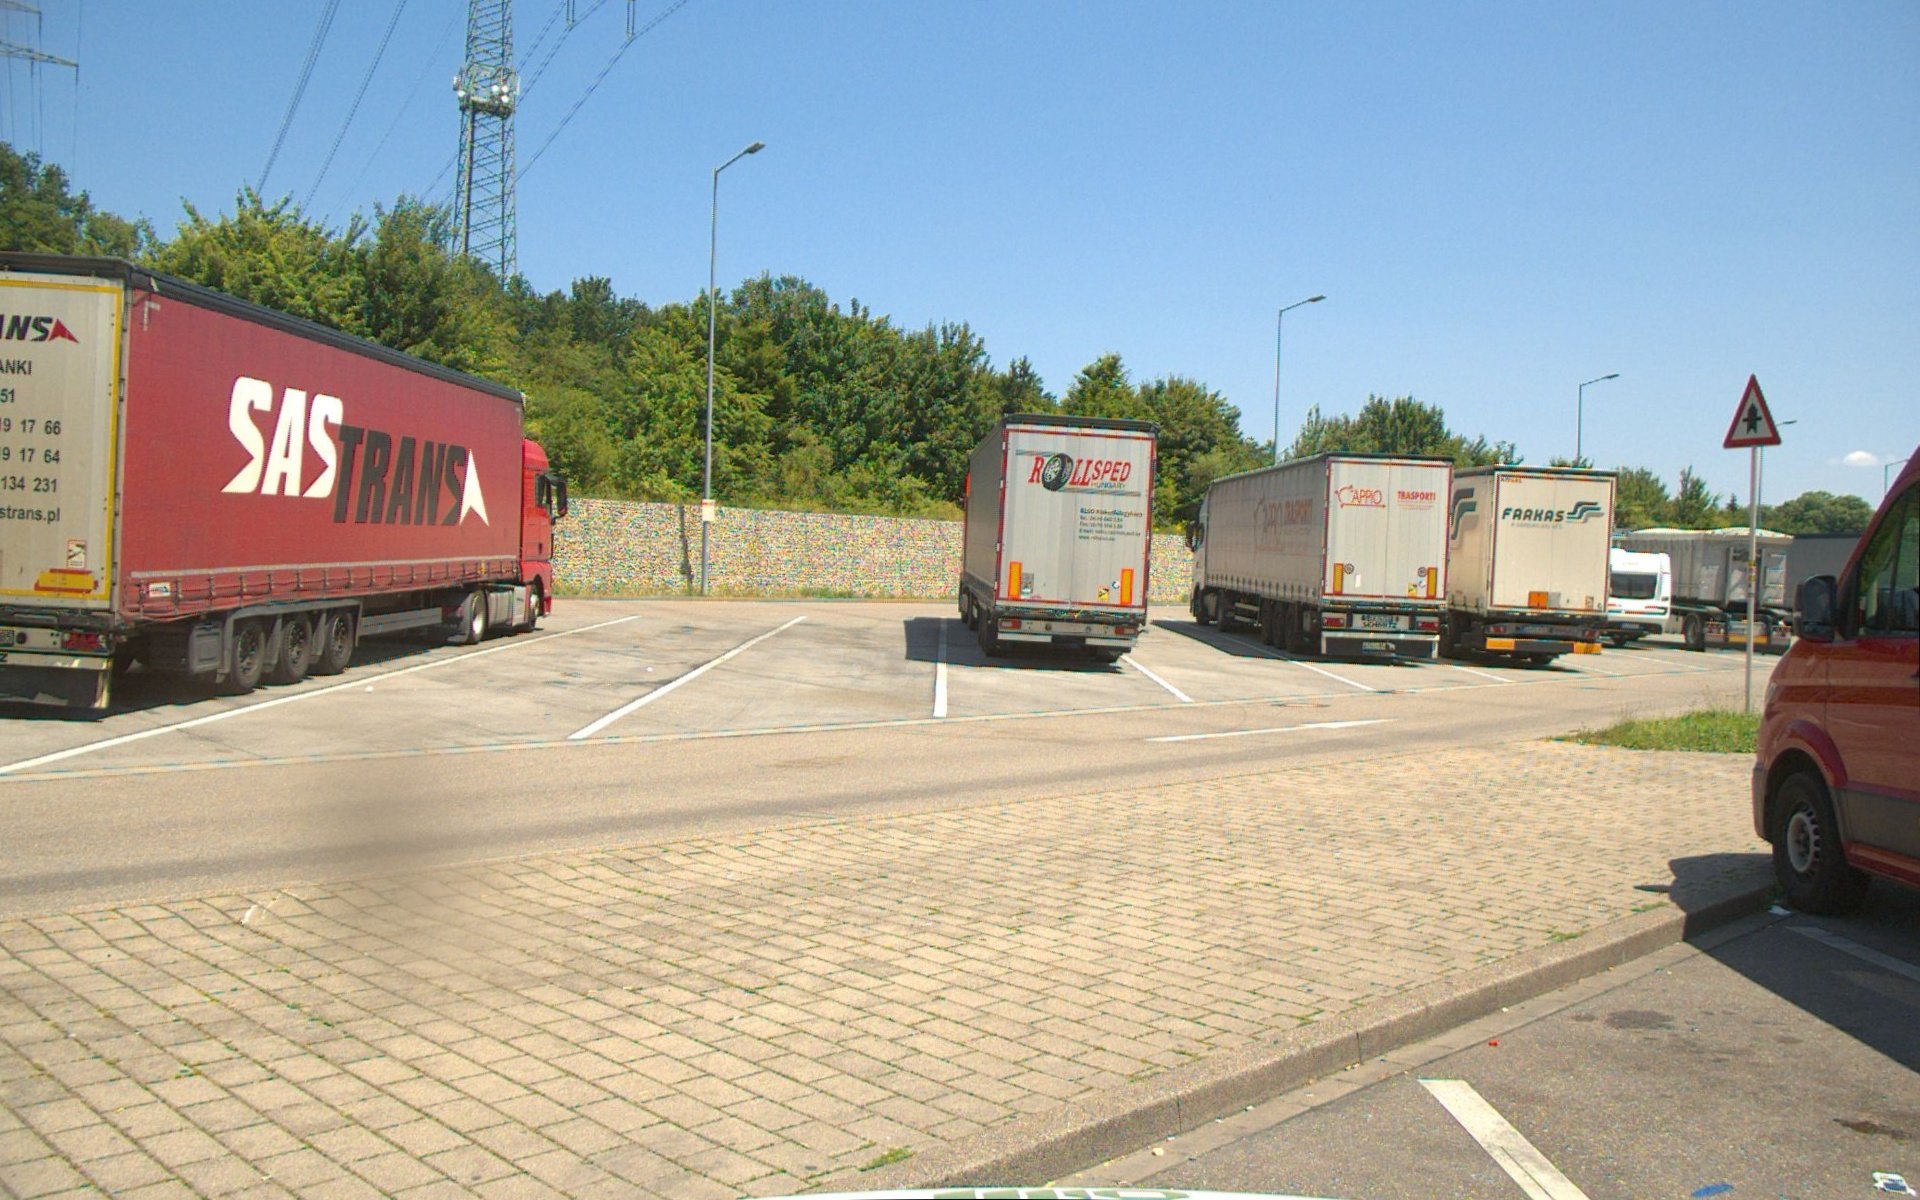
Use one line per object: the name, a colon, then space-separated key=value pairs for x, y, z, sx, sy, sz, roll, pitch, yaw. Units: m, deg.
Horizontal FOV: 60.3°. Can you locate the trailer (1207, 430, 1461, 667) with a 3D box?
trailer: x=8.174 y=-1.104 z=38.346 sx=2.627 sy=4.530 sz=12.826 roll=1 pitch=1 yaw=-1

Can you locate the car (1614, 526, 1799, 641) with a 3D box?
car: x=21.700 y=-0.505 z=48.491 sx=2.448 sy=3.128 sz=6.350 roll=1 pitch=1 yaw=-1

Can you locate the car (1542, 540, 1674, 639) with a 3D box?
car: x=18.235 y=-0.276 z=46.733 sx=2.072 sy=2.645 sz=3.999 roll=1 pitch=0 yaw=-1

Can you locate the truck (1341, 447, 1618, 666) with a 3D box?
truck: x=11.716 y=-0.840 z=38.876 sx=2.534 sy=4.299 sz=11.967 roll=1 pitch=0 yaw=-1

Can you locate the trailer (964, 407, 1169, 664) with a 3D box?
trailer: x=1.726 y=-1.132 z=32.200 sx=2.839 sy=4.083 sz=11.313 roll=1 pitch=1 yaw=-2

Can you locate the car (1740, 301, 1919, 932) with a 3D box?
car: x=4.986 y=0.105 z=5.555 sx=1.952 sy=2.679 sz=6.385 roll=1 pitch=1 yaw=3

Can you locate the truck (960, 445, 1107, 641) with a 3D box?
truck: x=1.538 y=-1.243 z=37.701 sx=2.814 sy=4.050 sz=6.027 roll=1 pitch=1 yaw=-2

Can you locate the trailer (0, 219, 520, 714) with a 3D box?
trailer: x=-8.640 y=-1.292 z=20.983 sx=2.743 sy=4.293 sz=13.200 roll=1 pitch=1 yaw=-1

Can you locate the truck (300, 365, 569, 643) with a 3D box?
truck: x=-8.726 y=-1.515 z=28.238 sx=2.749 sy=4.205 sz=5.893 roll=1 pitch=1 yaw=-1

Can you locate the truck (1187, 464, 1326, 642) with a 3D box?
truck: x=8.021 y=-1.256 z=45.410 sx=2.607 sy=4.530 sz=5.863 roll=1 pitch=1 yaw=-1
